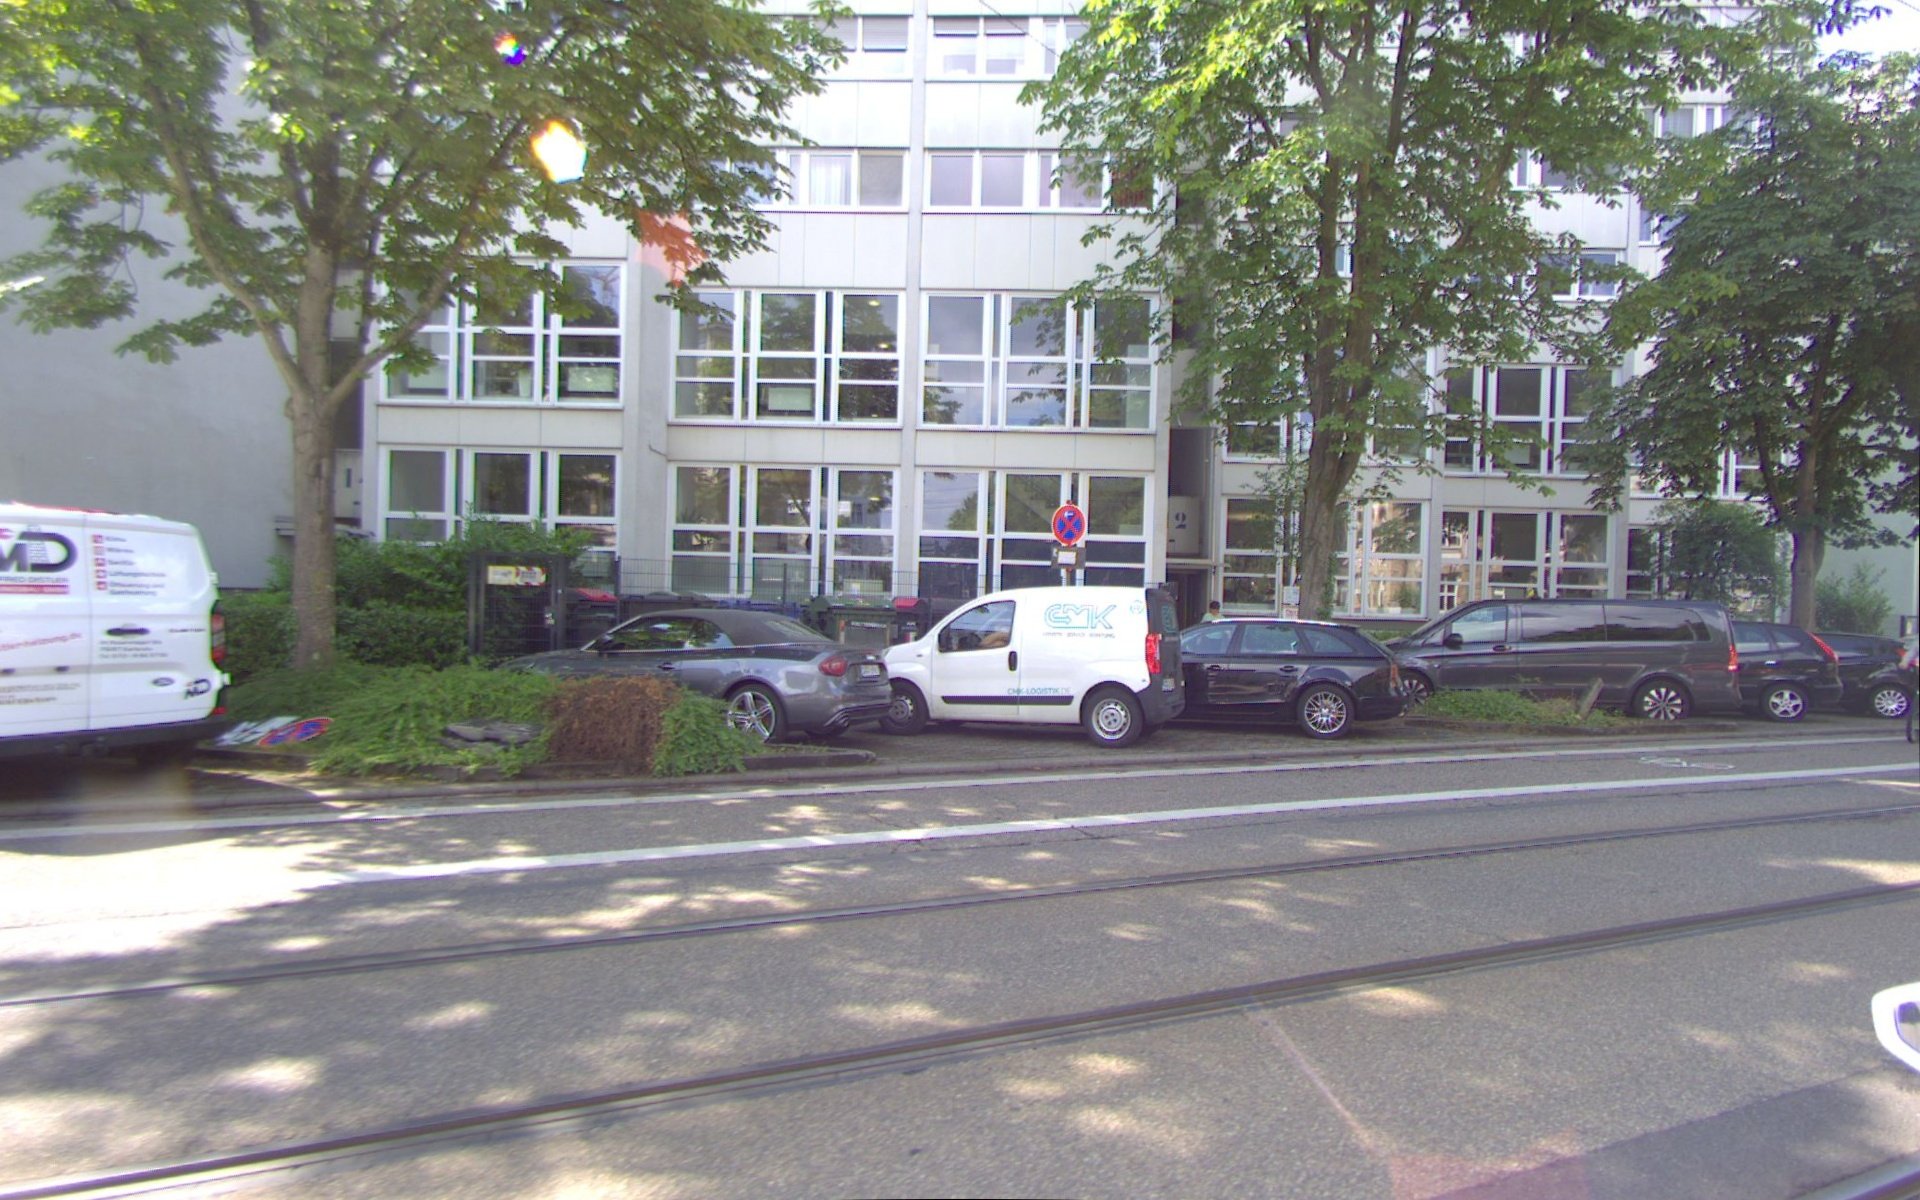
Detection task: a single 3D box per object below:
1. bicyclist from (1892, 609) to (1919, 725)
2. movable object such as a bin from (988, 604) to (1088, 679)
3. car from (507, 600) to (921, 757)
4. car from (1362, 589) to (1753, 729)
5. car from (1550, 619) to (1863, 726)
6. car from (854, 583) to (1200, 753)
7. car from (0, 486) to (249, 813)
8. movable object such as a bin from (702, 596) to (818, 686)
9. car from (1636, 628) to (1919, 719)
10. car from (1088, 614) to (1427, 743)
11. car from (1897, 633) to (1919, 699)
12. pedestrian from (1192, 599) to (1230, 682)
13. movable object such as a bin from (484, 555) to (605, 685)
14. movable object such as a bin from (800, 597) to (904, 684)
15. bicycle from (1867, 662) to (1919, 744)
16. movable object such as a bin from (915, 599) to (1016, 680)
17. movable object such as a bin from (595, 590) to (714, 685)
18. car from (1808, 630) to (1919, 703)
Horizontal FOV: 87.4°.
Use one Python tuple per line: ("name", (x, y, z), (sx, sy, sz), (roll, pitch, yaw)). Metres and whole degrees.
("bicyclist", (13.622, 0.947, 14.023), (0.732, 1.597, 0.639), (2, 0, -26))
("movable object such as a bin", (1.403, 0.761, 18.161), (1.422, 1.300, 1.165), (2, -3, -24))
("car", (-2.553, 0.757, 10.704), (3.919, 1.436, 1.723), (0, -2, 15))
("car", (9.156, 0.859, 15.981), (5.067, 1.980, 1.917), (0, -2, 21))
("car", (12.387, 1.157, 16.999), (3.923, 1.614, 1.740), (0, -2, 23))
("car", (0.799, 0.716, 11.713), (3.644, 1.715, 1.760), (0, -2, 23))
("car", (-7.825, 0.257, 7.610), (4.597, 2.024, 1.967), (2, 0, 25))
("movable object such as a bin", (-3.285, 0.680, 16.435), (1.519, 1.381, 1.382), (2, -3, -27))
("car", (14.980, 1.294, 18.509), (3.924, 1.504, 1.740), (0, -2, 25))
("car", (3.784, 0.932, 12.942), (3.922, 1.436, 1.760), (0, -2, 21))
("car", (23.960, 1.530, 22.680), (3.737, 1.504, 1.696), (0, -2, 27))
("pedestrian", (4.976, 0.798, 19.962), (0.632, 1.597, 0.882), (2, 0, 10))
("movable object such as a bin", (-6.197, 0.330, 14.938), (1.519, 1.805, 1.382), (2, -3, -27))
("movable object such as a bin", (-1.844, 0.697, 17.042), (1.423, 1.398, 1.188), (2, -3, -27))
("bicycle", (13.542, 1.423, 13.982), (1.974, 1.054, 0.653), (2, -1, -26))
("movable object such as a bin", (0.086, 0.702, 17.553), (1.422, 1.344, 1.161), (2, -3, -25))
("movable object such as a bin", (-4.761, 0.594, 15.618), (1.519, 1.381, 1.382), (2, -3, -27))
("car", (20.909, 1.425, 21.597), (3.733, 1.504, 1.698), (0, -2, 22))
